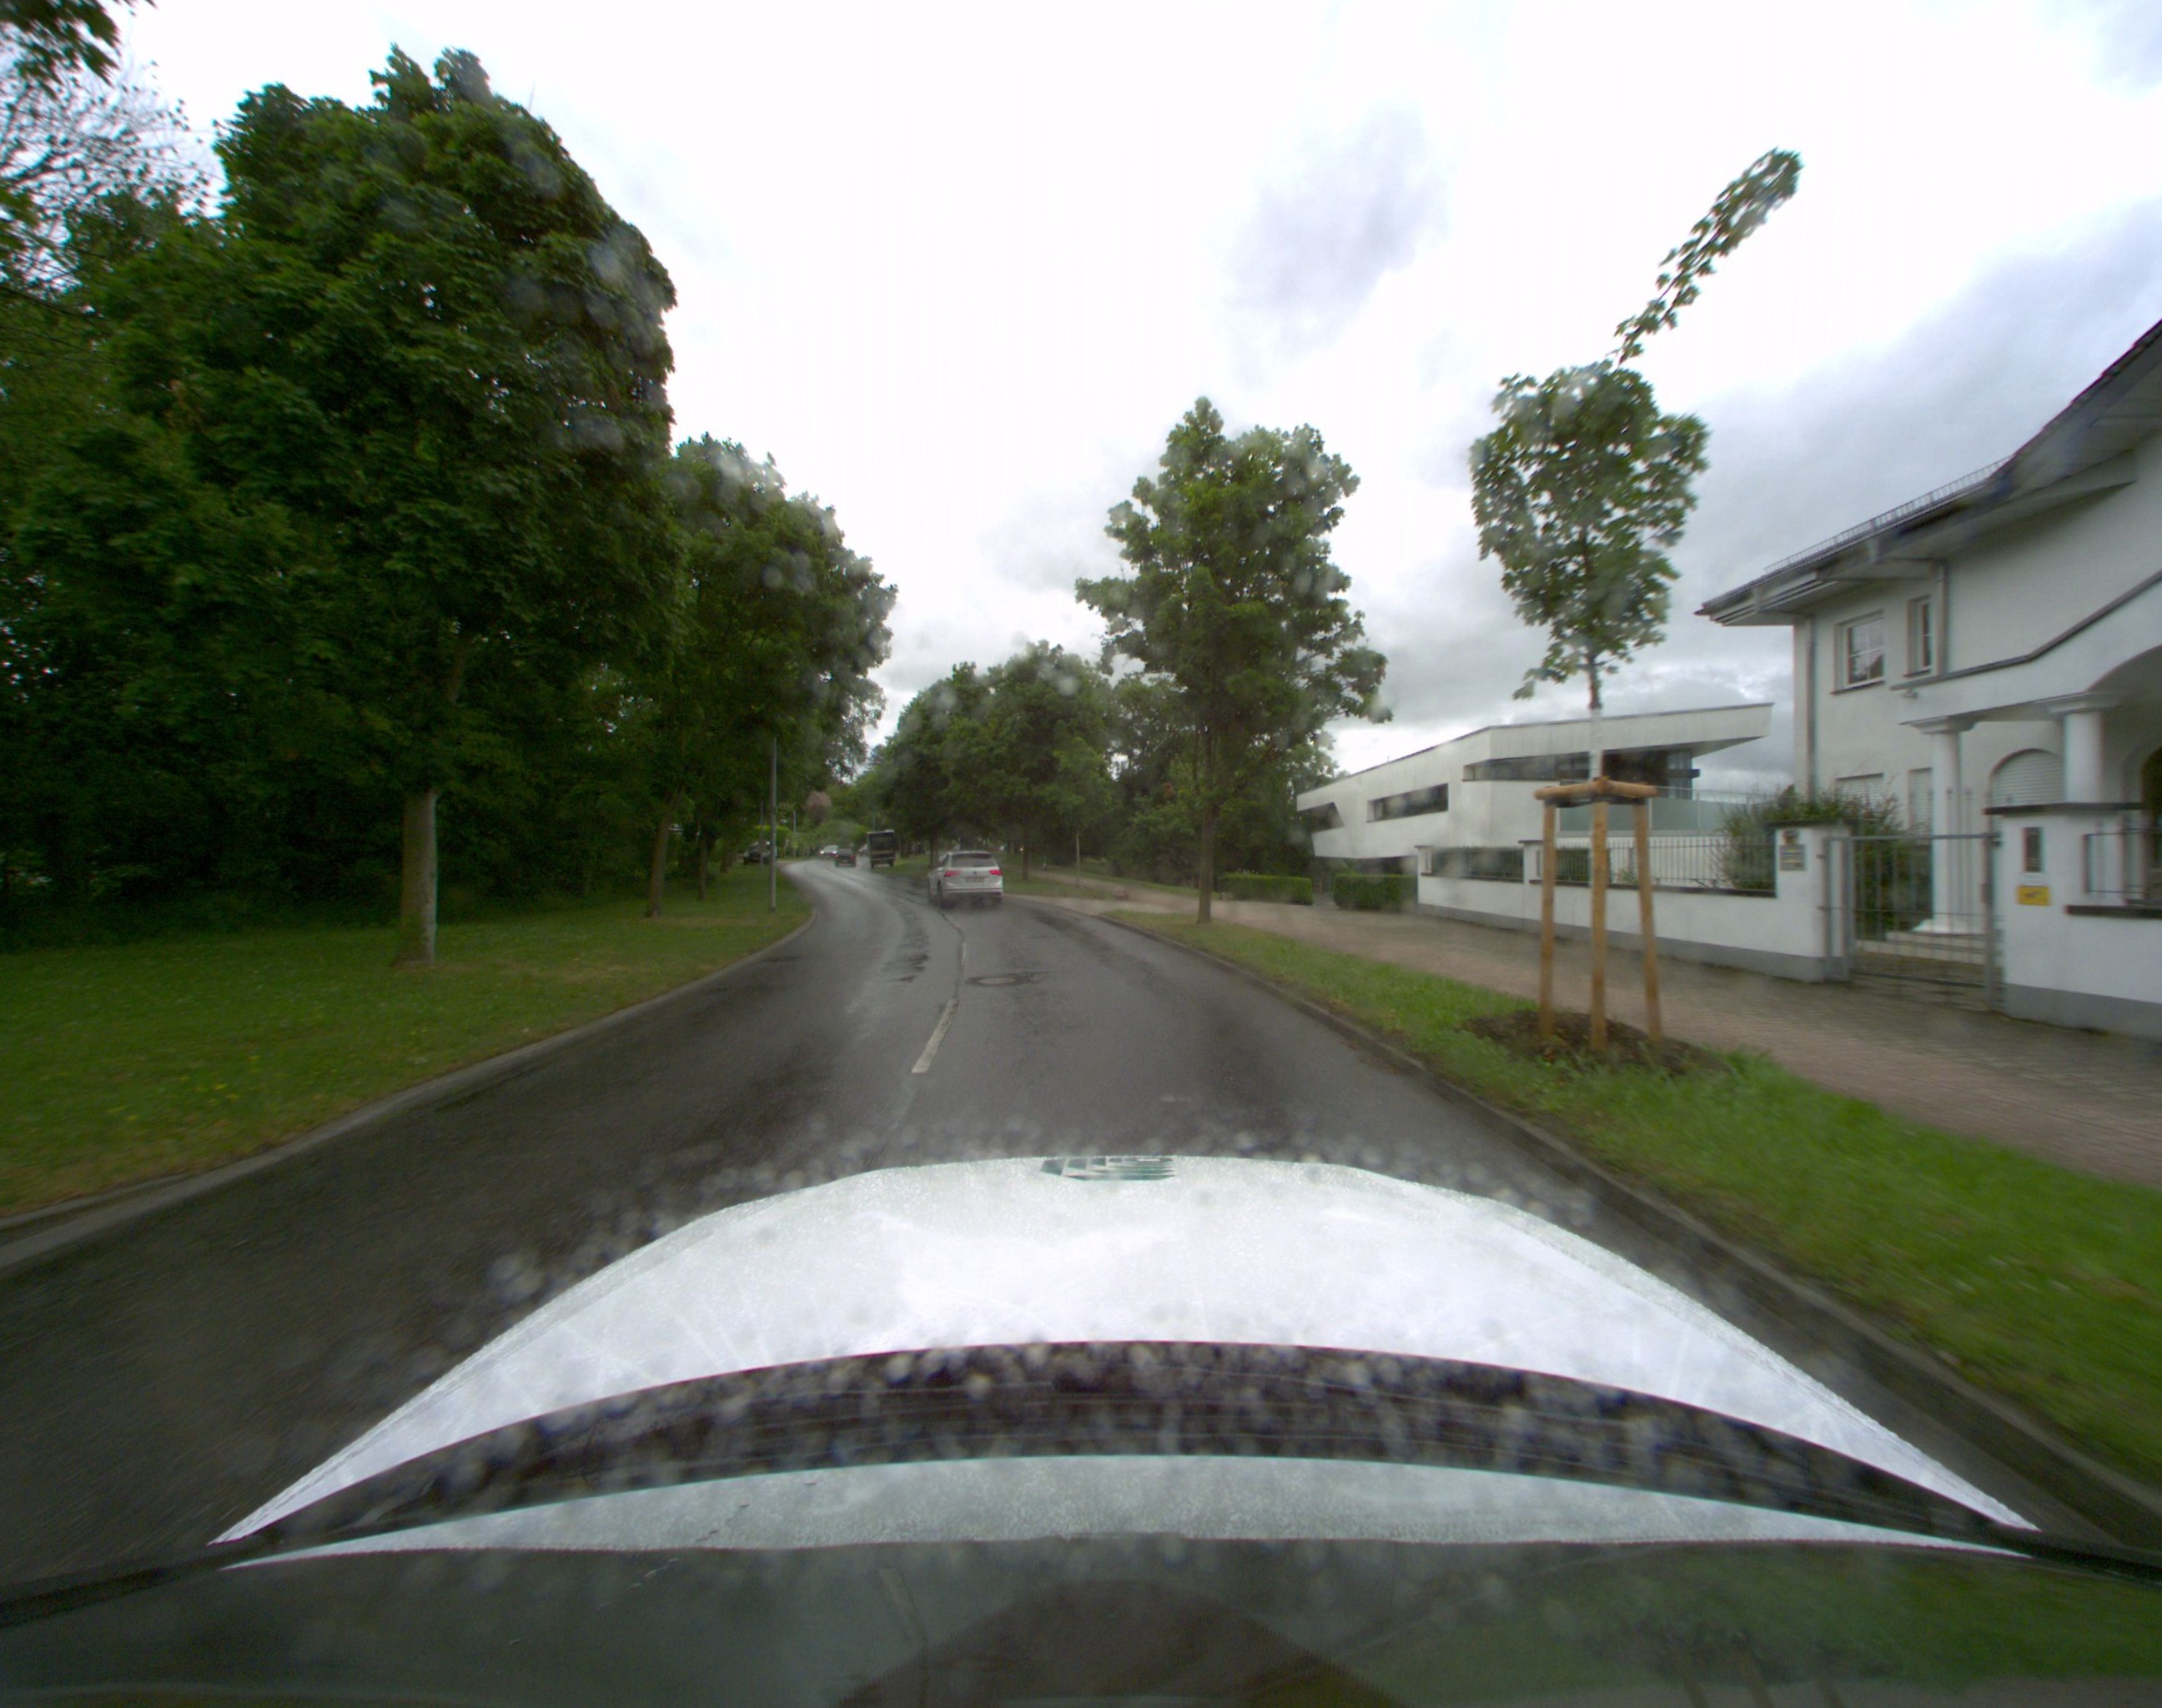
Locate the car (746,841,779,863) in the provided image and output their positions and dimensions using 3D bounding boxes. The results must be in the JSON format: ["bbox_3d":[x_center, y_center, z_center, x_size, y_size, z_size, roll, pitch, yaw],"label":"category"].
[{"bbox_3d":[-27.033,-0.203,69.246,1.800,1.795,4.355,2,0,-12],"label":"car"}]

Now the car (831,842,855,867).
[{"bbox_3d":[-20.864,0.043,71.276,1.906,2.014,3.921,3,-1,-18],"label":"car"}]

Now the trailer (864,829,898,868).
[{"bbox_3d":[-15.982,-0.457,64.963,2.000,2.807,5.573,-5,2,-18],"label":"trailer"}]

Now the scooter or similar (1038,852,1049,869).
[{"bbox_3d":[-2.660,0.446,57.844,0.464,1.146,1.295,-1,1,-14],"label":"scooter or similar"}]

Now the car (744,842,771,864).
[{"bbox_3d":[-25.512,-0.095,64.254,1.756,1.640,4.561,3,-1,-20],"label":"car"}]

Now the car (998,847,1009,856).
[{"bbox_3d":[-17.011,-0.466,178.559,1.988,1.807,3.998,2,-1,-1],"label":"car"}]

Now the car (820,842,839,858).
[{"bbox_3d":[-26.653,-0.460,86.189,1.794,1.537,4.068,3,1,-18],"label":"car"}]

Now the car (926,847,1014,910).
[{"bbox_3d":[-3.479,0.693,24.903,1.979,1.653,4.153,-2,0,-17],"label":"car"}]

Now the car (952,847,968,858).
[{"bbox_3d":[-20.384,-0.242,137.225,1.985,1.804,4.002,2,-1,3],"label":"car"}]
